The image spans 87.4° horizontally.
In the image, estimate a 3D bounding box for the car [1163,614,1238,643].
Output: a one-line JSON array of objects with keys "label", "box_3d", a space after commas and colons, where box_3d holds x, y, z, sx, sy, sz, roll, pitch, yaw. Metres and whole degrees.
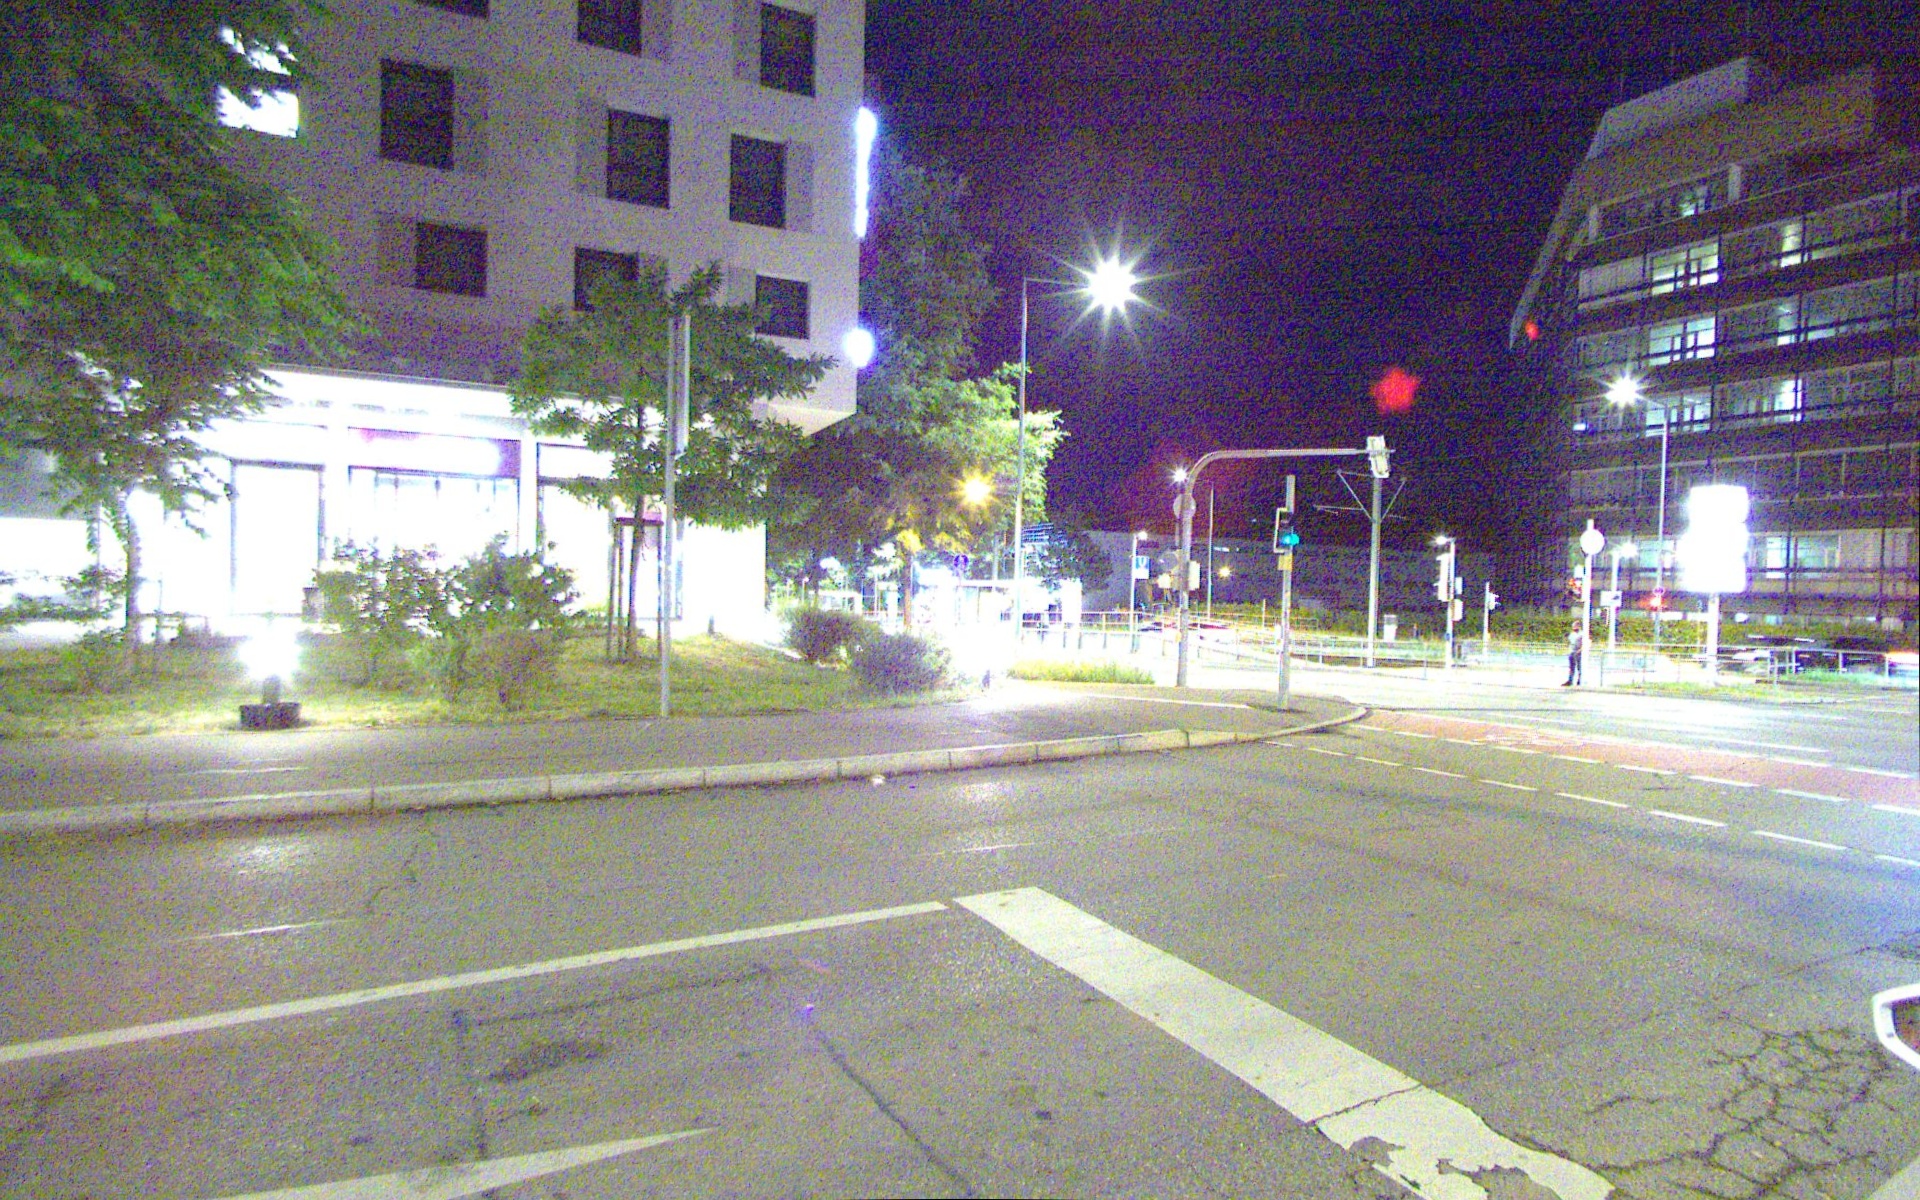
[{"label": "car", "box_3d": [14.276, 1.655, 59.816, 1.823, 1.606, 4.553, 0, 0, -27]}]

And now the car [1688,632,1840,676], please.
[{"label": "car", "box_3d": [28.288, 1.871, 35.469, 1.745, 1.423, 3.859, 2, -2, -26]}]

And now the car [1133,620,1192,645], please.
[{"label": "car", "box_3d": [13.809, 2.200, 68.661, 1.779, 1.605, 4.222, 3, -3, -25]}]

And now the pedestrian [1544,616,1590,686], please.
[{"label": "pedestrian", "box_3d": [15.677, 1.314, 25.948, 0.693, 1.745, 0.679, 2, 0, -5]}]

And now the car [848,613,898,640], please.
[{"label": "car", "box_3d": [-5.271, 1.581, 60.569, 1.672, 1.472, 3.975, 3, 0, -25]}]

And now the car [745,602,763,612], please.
[{"label": "car", "box_3d": [-33.459, 1.149, 162.938, 1.845, 1.506, 3.822, 3, 0, -26]}]

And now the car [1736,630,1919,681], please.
[{"label": "car", "box_3d": [27.180, 1.684, 31.320, 1.826, 1.439, 4.413, 2, -2, -26]}]
